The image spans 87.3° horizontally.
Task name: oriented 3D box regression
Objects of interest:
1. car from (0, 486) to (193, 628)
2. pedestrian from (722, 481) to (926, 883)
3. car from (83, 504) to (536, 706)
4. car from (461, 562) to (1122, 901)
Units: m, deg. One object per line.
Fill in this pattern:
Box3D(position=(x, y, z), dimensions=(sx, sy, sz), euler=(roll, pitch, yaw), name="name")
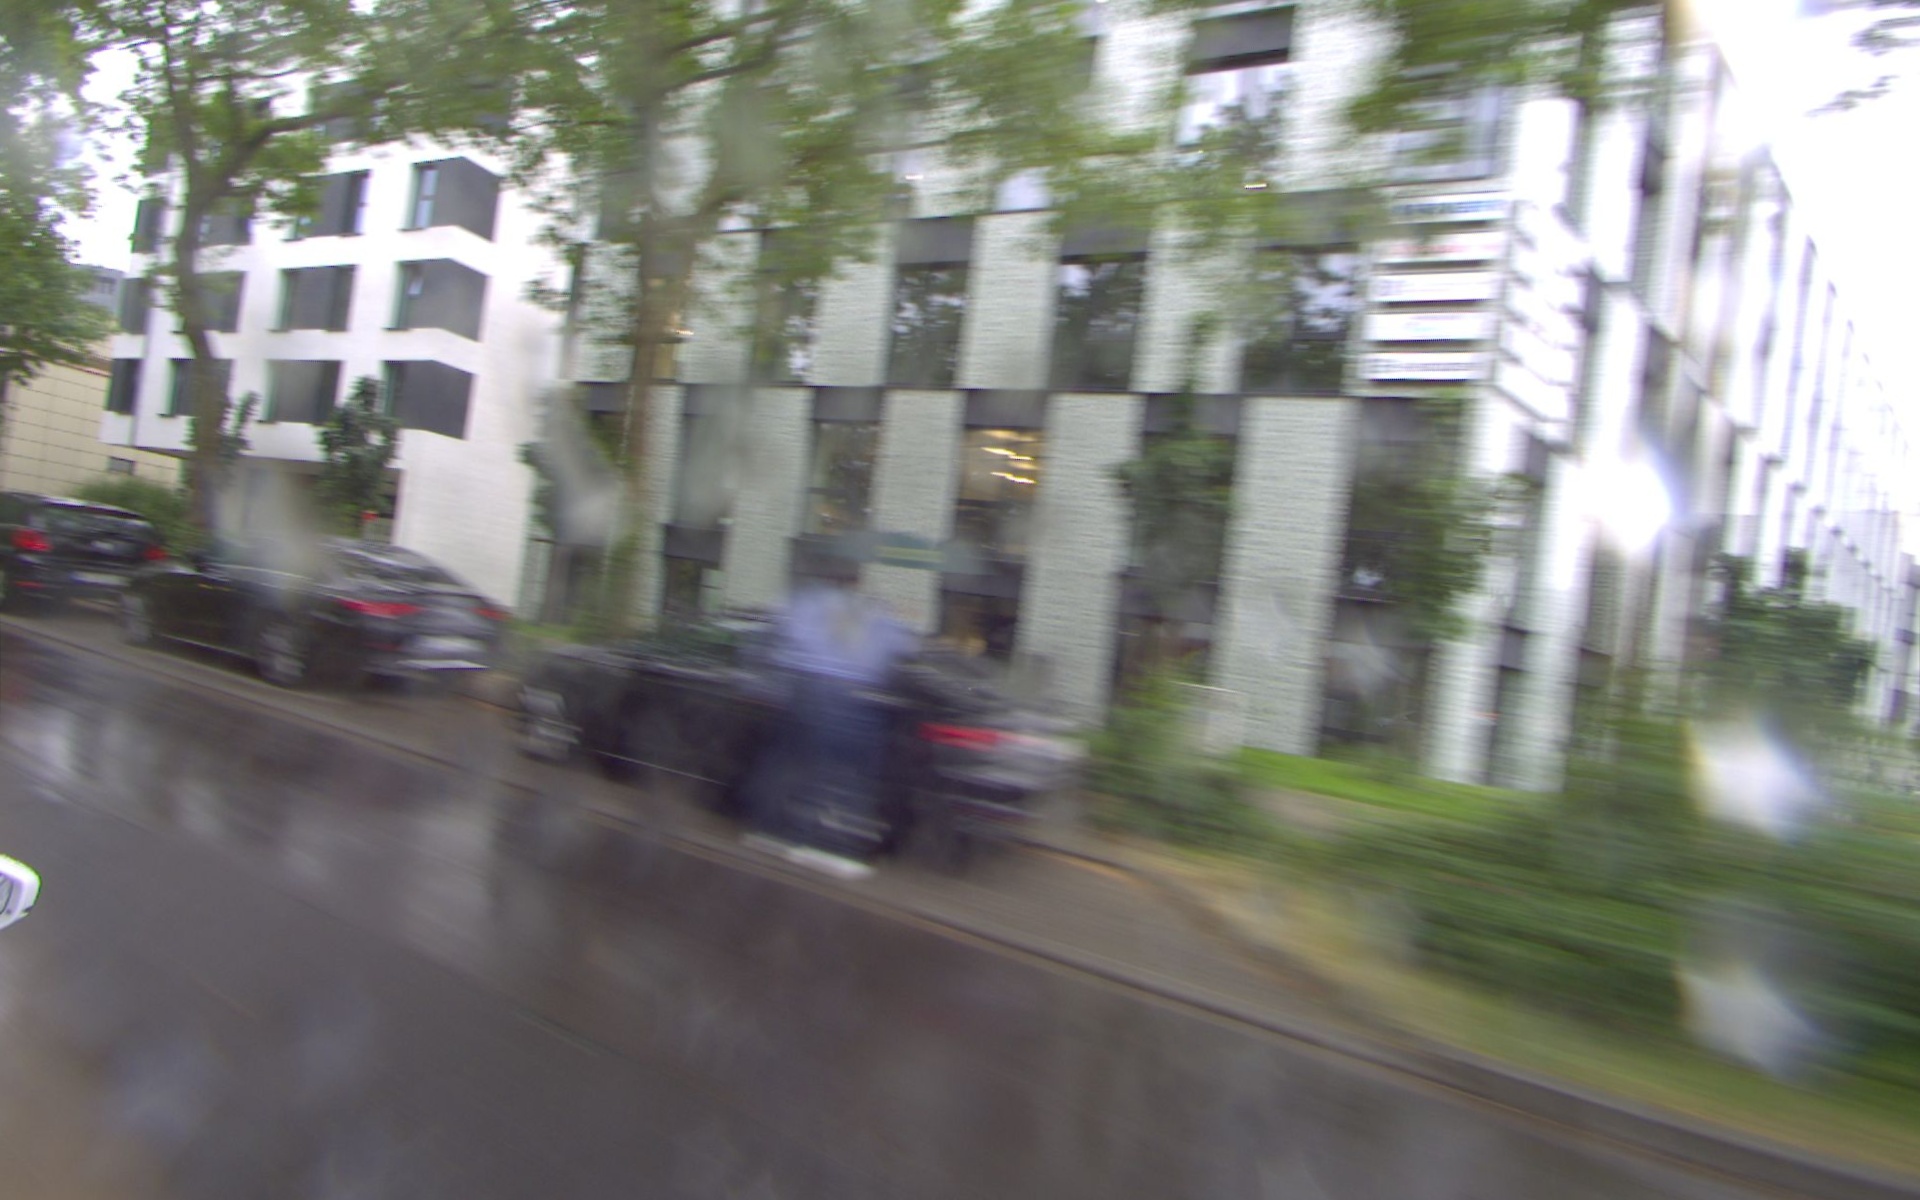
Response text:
Box3D(position=(-12.205, -0.668, 13.326), dimensions=(4.013, 1.493, 1.747), euler=(7, -1, 30), name="car")
Box3D(position=(-0.765, 0.449, 5.774), dimensions=(0.819, 2.037, 0.899), euler=(8, 0, -7), name="pedestrian")
Box3D(position=(-6.971, 0.004, 10.630), dimensions=(5.016, 1.445, 1.748), euler=(7, -1, 29), name="car")
Box3D(position=(-1.428, 0.711, 7.417), dimensions=(4.780, 1.446, 1.744), euler=(7, 1, 33), name="car")
